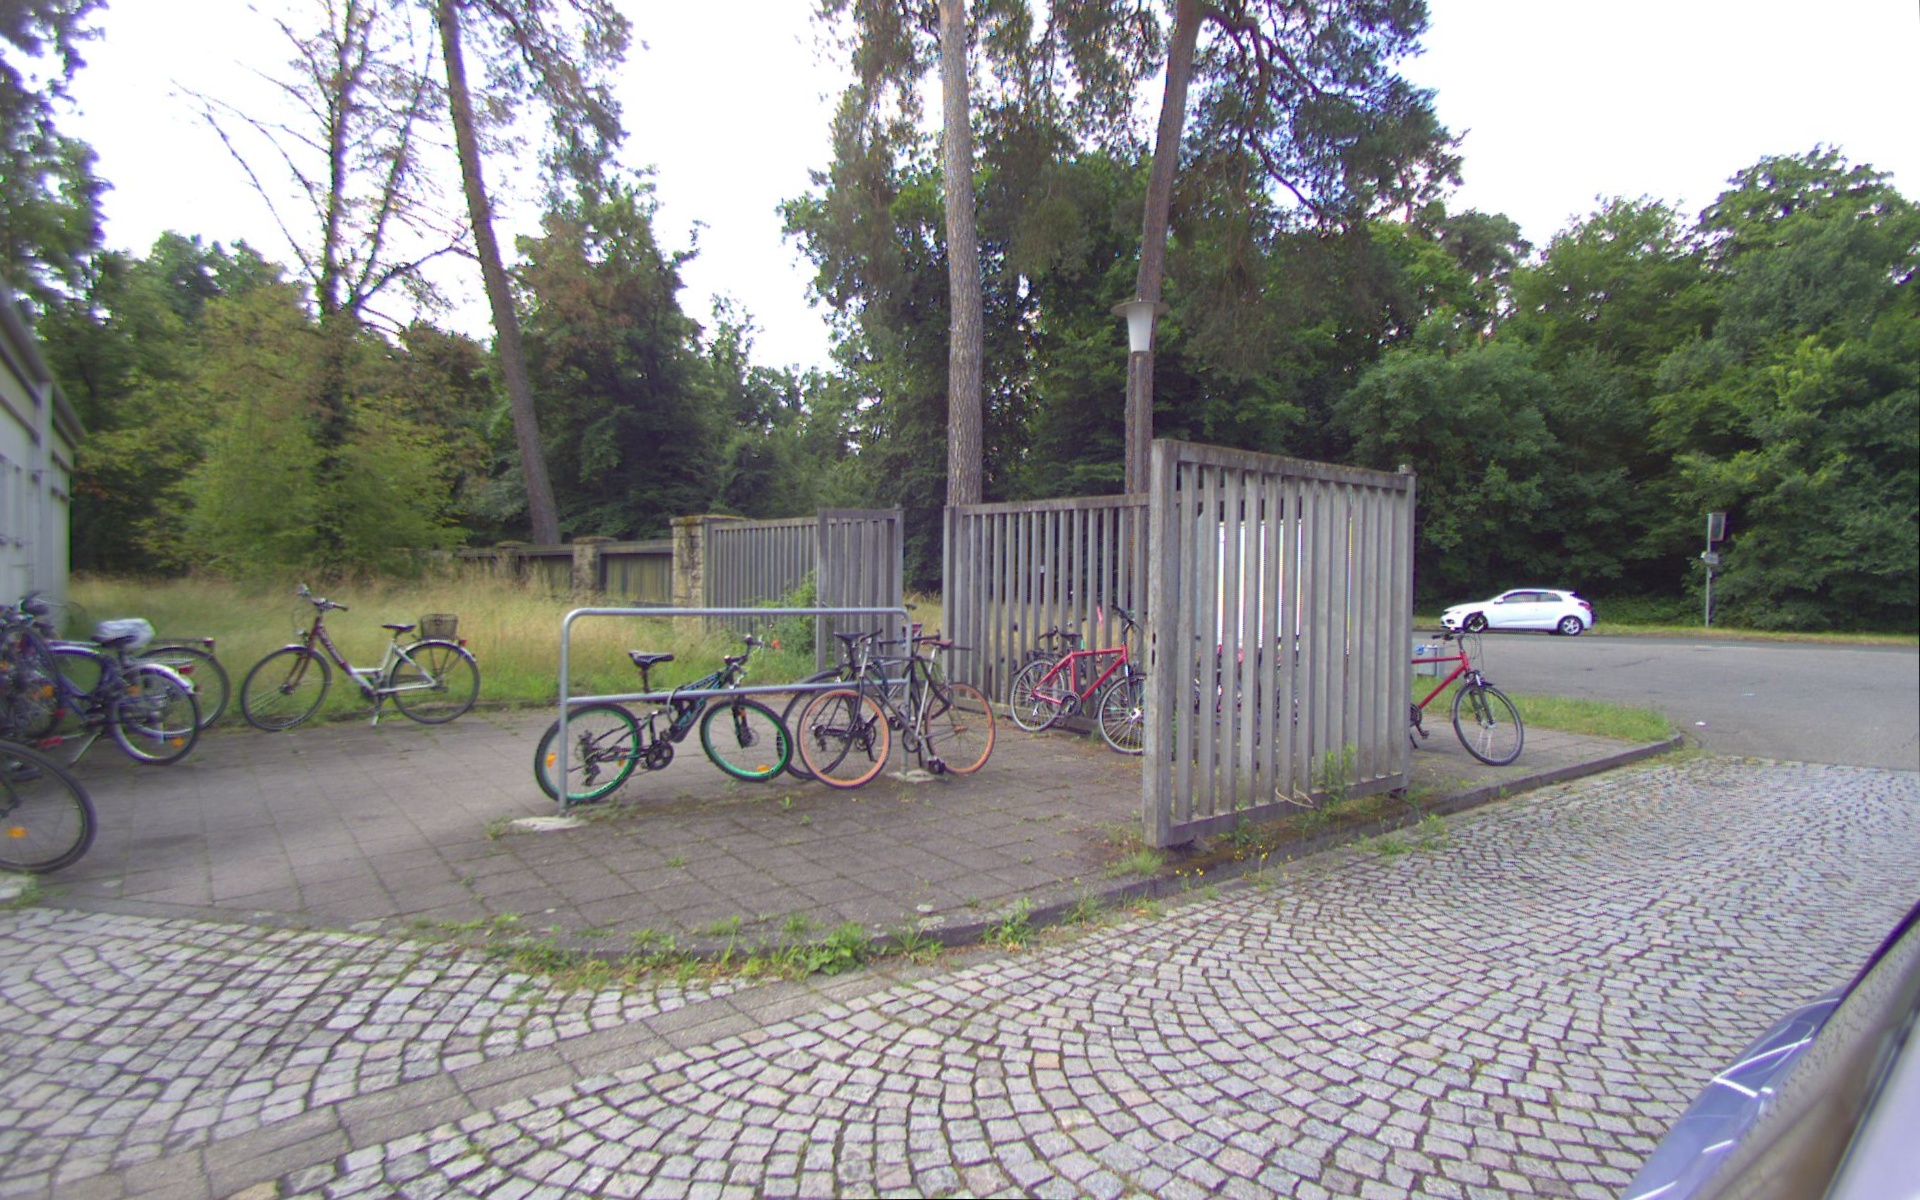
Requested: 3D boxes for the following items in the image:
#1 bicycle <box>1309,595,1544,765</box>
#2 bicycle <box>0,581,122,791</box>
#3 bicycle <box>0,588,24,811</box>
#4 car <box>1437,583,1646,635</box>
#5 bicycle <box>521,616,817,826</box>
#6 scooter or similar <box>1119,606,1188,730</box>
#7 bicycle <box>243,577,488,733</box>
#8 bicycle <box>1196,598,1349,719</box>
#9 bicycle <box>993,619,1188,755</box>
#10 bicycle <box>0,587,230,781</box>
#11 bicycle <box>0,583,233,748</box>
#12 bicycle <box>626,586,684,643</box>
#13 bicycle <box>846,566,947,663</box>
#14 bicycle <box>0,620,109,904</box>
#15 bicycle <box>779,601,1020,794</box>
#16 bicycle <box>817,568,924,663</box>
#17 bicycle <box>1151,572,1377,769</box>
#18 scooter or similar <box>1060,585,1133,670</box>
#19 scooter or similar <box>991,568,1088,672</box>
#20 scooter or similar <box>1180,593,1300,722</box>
[{"bbox_3d":[4.079,0.636,8.955,0.661,1.293,1.737,0,2,-43],"label":"bicycle"},{"bbox_3d":[-5.993,0.486,6.165,1.628,1.185,0.435,0,3,13],"label":"bicycle"},{"bbox_3d":[-5.925,0.510,5.609,1.634,1.185,0.433,2,3,23],"label":"bicycle"},{"bbox_3d":[18.014,0.234,31.693,5.344,1.395,1.988,2,1,20],"label":"car"},{"bbox_3d":[-1.749,0.659,6.187,1.566,1.070,0.731,0,2,-40],"label":"bicycle"},{"bbox_3d":[1.999,0.655,10.357,0.433,1.165,1.243,1,1,23],"label":"scooter or similar"},{"bbox_3d":[-4.816,0.419,8.298,1.689,1.185,0.437,0,2,-27],"label":"bicycle"},{"bbox_3d":[3.421,0.605,11.211,0.610,1.177,1.613,2,1,-28],"label":"bicycle"},{"bbox_3d":[1.093,0.704,8.928,0.449,0.980,1.951,0,2,-38],"label":"bicycle"},{"bbox_3d":[-5.774,0.532,6.721,1.624,1.132,0.436,3,3,6],"label":"bicycle"},{"bbox_3d":[-6.208,0.432,7.269,1.568,1.097,0.435,0,2,-42],"label":"bicycle"},{"bbox_3d":[-6.017,0.255,19.899,0.367,1.029,1.951,0,2,-39],"label":"bicycle"},{"bbox_3d":[-0.970,0.217,15.894,0.585,1.435,1.776,2,0,35],"label":"bicycle"},{"bbox_3d":[-4.444,0.654,3.961,1.683,1.086,0.731,0,2,-40],"label":"bicycle"},{"bbox_3d":[-0.381,0.626,7.067,1.685,1.185,0.502,1,1,-40],"label":"bicycle"},{"bbox_3d":[-1.407,0.226,16.328,0.574,1.435,1.958,2,1,35],"label":"bicycle"},{"bbox_3d":[2.460,0.499,8.440,0.506,1.434,1.908,-1,3,-34],"label":"bicycle"},{"bbox_3d":[2.147,0.418,16.029,0.431,1.243,1.088,-2,4,-44],"label":"scooter or similar"},{"bbox_3d":[1.199,0.286,15.431,0.521,1.434,1.252,17,-9,-37],"label":"scooter or similar"},{"bbox_3d":[2.973,0.581,10.857,0.378,1.261,1.285,1,2,-32],"label":"scooter or similar"}]
